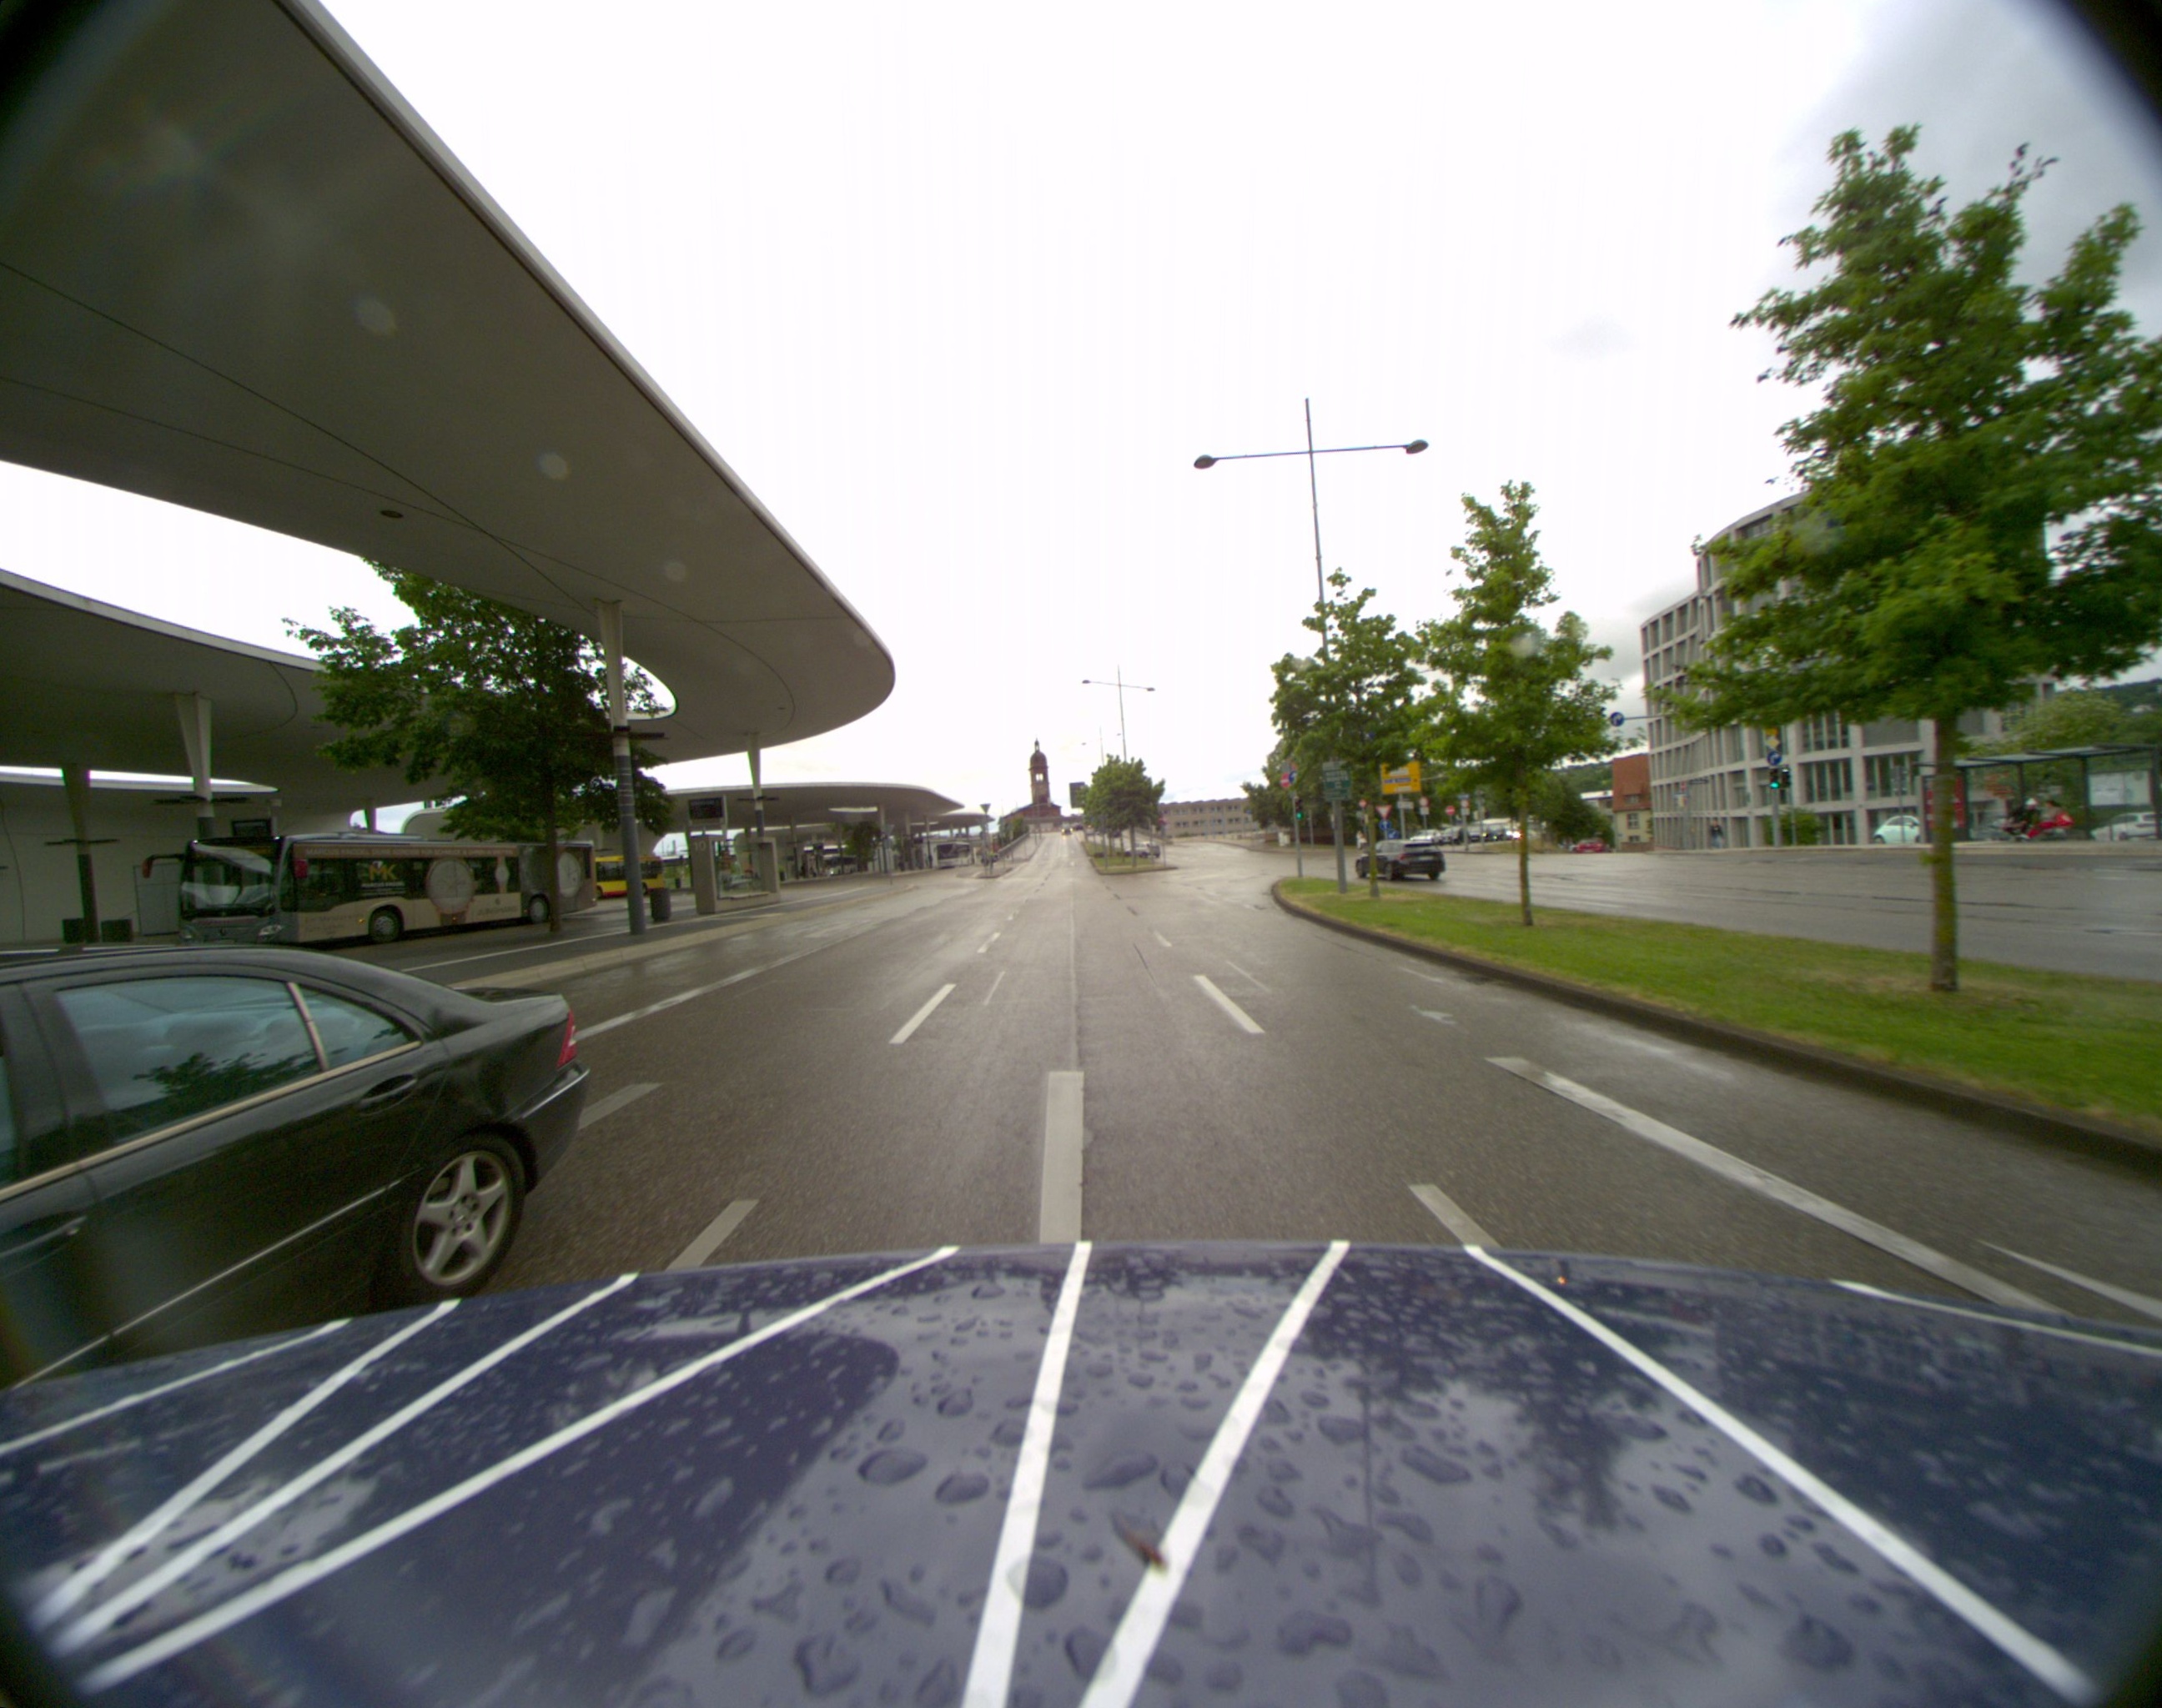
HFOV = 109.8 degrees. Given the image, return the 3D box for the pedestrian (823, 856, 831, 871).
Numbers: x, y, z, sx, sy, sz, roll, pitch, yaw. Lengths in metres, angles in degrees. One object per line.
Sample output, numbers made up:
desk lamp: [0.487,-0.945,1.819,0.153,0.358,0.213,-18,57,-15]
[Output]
pedestrian: [-28.397,1.105,84.902,0.570,1.645,0.557,-3,1,5]

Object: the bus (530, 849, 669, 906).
bus: [-35.274,1.534,56.582,2.796,3.240,12.132,-4,3,-2]

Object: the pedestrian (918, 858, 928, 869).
pedestrian: [-17.989,1.059,86.535,0.954,1.247,0.648,-1,-1,-24]

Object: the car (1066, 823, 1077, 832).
car: [-1.801,-5.116,145.891,1.852,1.643,4.417,-4,1,-3]

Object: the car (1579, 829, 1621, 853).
car: [38.412,-0.945,56.189,4.040,1.543,1.823,-4,2,-45]

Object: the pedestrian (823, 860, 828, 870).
pedestrian: [-28.043,1.156,83.466,0.391,1.075,0.352,-2,2,41]

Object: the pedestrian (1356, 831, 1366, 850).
pedestrian: [24.291,-1.173,65.933,0.653,1.562,0.631,-2,4,5]

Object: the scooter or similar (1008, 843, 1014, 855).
scooter or similar: [-7.500,-0.582,81.671,0.465,1.214,1.859,-4,1,-1]

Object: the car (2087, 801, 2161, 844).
car: [40.813,-1.218,29.147,1.761,1.487,3.795,-2,1,38]

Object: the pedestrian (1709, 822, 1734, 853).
pedestrian: [33.907,-0.876,40.217,0.673,1.574,0.704,-4,2,-3]

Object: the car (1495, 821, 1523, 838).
car: [45.496,-2.607,80.725,1.723,1.559,3.845,-2,2,42]

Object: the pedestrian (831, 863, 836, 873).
pedestrian: [-27.294,1.544,83.864,0.395,1.138,0.364,-2,2,41]

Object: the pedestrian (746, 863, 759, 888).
pedestrian: [-23.183,1.527,53.552,0.720,1.674,1.019,-3,2,-26]

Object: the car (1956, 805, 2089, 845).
car: [38.845,-1.173,31.492,1.630,1.487,3.585,-3,1,15]

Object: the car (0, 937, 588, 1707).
car: [-3.074,1.104,1.298,1.702,1.453,4.303,-2,-1,-2]

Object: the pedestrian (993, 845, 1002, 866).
pedestrian: [-7.058,0.137,64.424,0.524,1.662,0.580,-5,4,-1]

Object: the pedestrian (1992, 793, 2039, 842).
pedestrian: [29.107,-1.138,23.666,0.680,1.460,0.625,-3,2,-3]

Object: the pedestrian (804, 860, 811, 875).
pedestrian: [-28.421,1.418,79.024,0.522,1.494,0.381,-5,2,-40]

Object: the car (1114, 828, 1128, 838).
car: [6.355,-3.352,120.882,1.852,1.496,4.918,-4,1,1]

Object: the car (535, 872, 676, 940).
car: [-12.265,1.277,19.855,1.651,1.444,3.236,-4,1,-2]

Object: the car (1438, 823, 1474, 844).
car: [31.872,-1.766,64.478,1.723,1.559,3.845,-2,2,42]

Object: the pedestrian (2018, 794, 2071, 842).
pedestrian: [29.076,-1.082,22.939,0.680,1.384,0.720,-3,2,-2]

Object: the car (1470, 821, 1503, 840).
car: [36.974,-2.154,69.253,1.723,1.559,3.845,-2,2,42]

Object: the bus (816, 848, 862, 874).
bus: [-35.900,0.943,113.251,2.795,3.239,12.137,-4,1,-1]

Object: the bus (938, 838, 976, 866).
bus: [-15.471,-0.278,95.926,2.852,3.342,12.423,-1,1,-1]

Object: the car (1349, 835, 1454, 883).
car: [11.689,0.133,28.055,1.685,1.519,4.637,-3,1,-3]

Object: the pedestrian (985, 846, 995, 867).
pedestrian: [-7.684,0.185,64.481,0.590,1.662,0.580,-6,6,-1]

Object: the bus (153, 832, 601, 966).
bus: [-20.325,0.976,23.876,2.728,3.026,12.086,-3,1,0]

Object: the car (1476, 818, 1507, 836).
car: [39.466,-2.619,72.951,1.723,1.559,3.845,-2,2,42]

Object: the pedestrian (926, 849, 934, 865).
pedestrian: [-17.249,0.332,86.696,0.585,1.875,0.649,-2,0,9]

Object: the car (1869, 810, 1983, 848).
car: [37.020,-1.102,33.399,1.630,1.487,3.585,-3,1,15]

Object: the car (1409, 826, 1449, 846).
car: [30.963,-1.588,67.597,1.882,1.559,4.148,-2,2,44]

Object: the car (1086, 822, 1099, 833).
car: [2.027,-4.598,132.741,1.852,1.643,4.417,-4,1,-3]

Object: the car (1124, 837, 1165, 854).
car: [5.865,-0.767,70.245,1.640,1.440,3.866,-4,2,-34]

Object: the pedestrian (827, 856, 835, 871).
pedestrian: [-28.268,1.077,85.950,0.644,1.645,0.638,-4,2,-40]

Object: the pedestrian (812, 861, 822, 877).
pedestrian: [-28.175,1.584,81.049,0.590,1.581,0.677,-7,5,-4]
